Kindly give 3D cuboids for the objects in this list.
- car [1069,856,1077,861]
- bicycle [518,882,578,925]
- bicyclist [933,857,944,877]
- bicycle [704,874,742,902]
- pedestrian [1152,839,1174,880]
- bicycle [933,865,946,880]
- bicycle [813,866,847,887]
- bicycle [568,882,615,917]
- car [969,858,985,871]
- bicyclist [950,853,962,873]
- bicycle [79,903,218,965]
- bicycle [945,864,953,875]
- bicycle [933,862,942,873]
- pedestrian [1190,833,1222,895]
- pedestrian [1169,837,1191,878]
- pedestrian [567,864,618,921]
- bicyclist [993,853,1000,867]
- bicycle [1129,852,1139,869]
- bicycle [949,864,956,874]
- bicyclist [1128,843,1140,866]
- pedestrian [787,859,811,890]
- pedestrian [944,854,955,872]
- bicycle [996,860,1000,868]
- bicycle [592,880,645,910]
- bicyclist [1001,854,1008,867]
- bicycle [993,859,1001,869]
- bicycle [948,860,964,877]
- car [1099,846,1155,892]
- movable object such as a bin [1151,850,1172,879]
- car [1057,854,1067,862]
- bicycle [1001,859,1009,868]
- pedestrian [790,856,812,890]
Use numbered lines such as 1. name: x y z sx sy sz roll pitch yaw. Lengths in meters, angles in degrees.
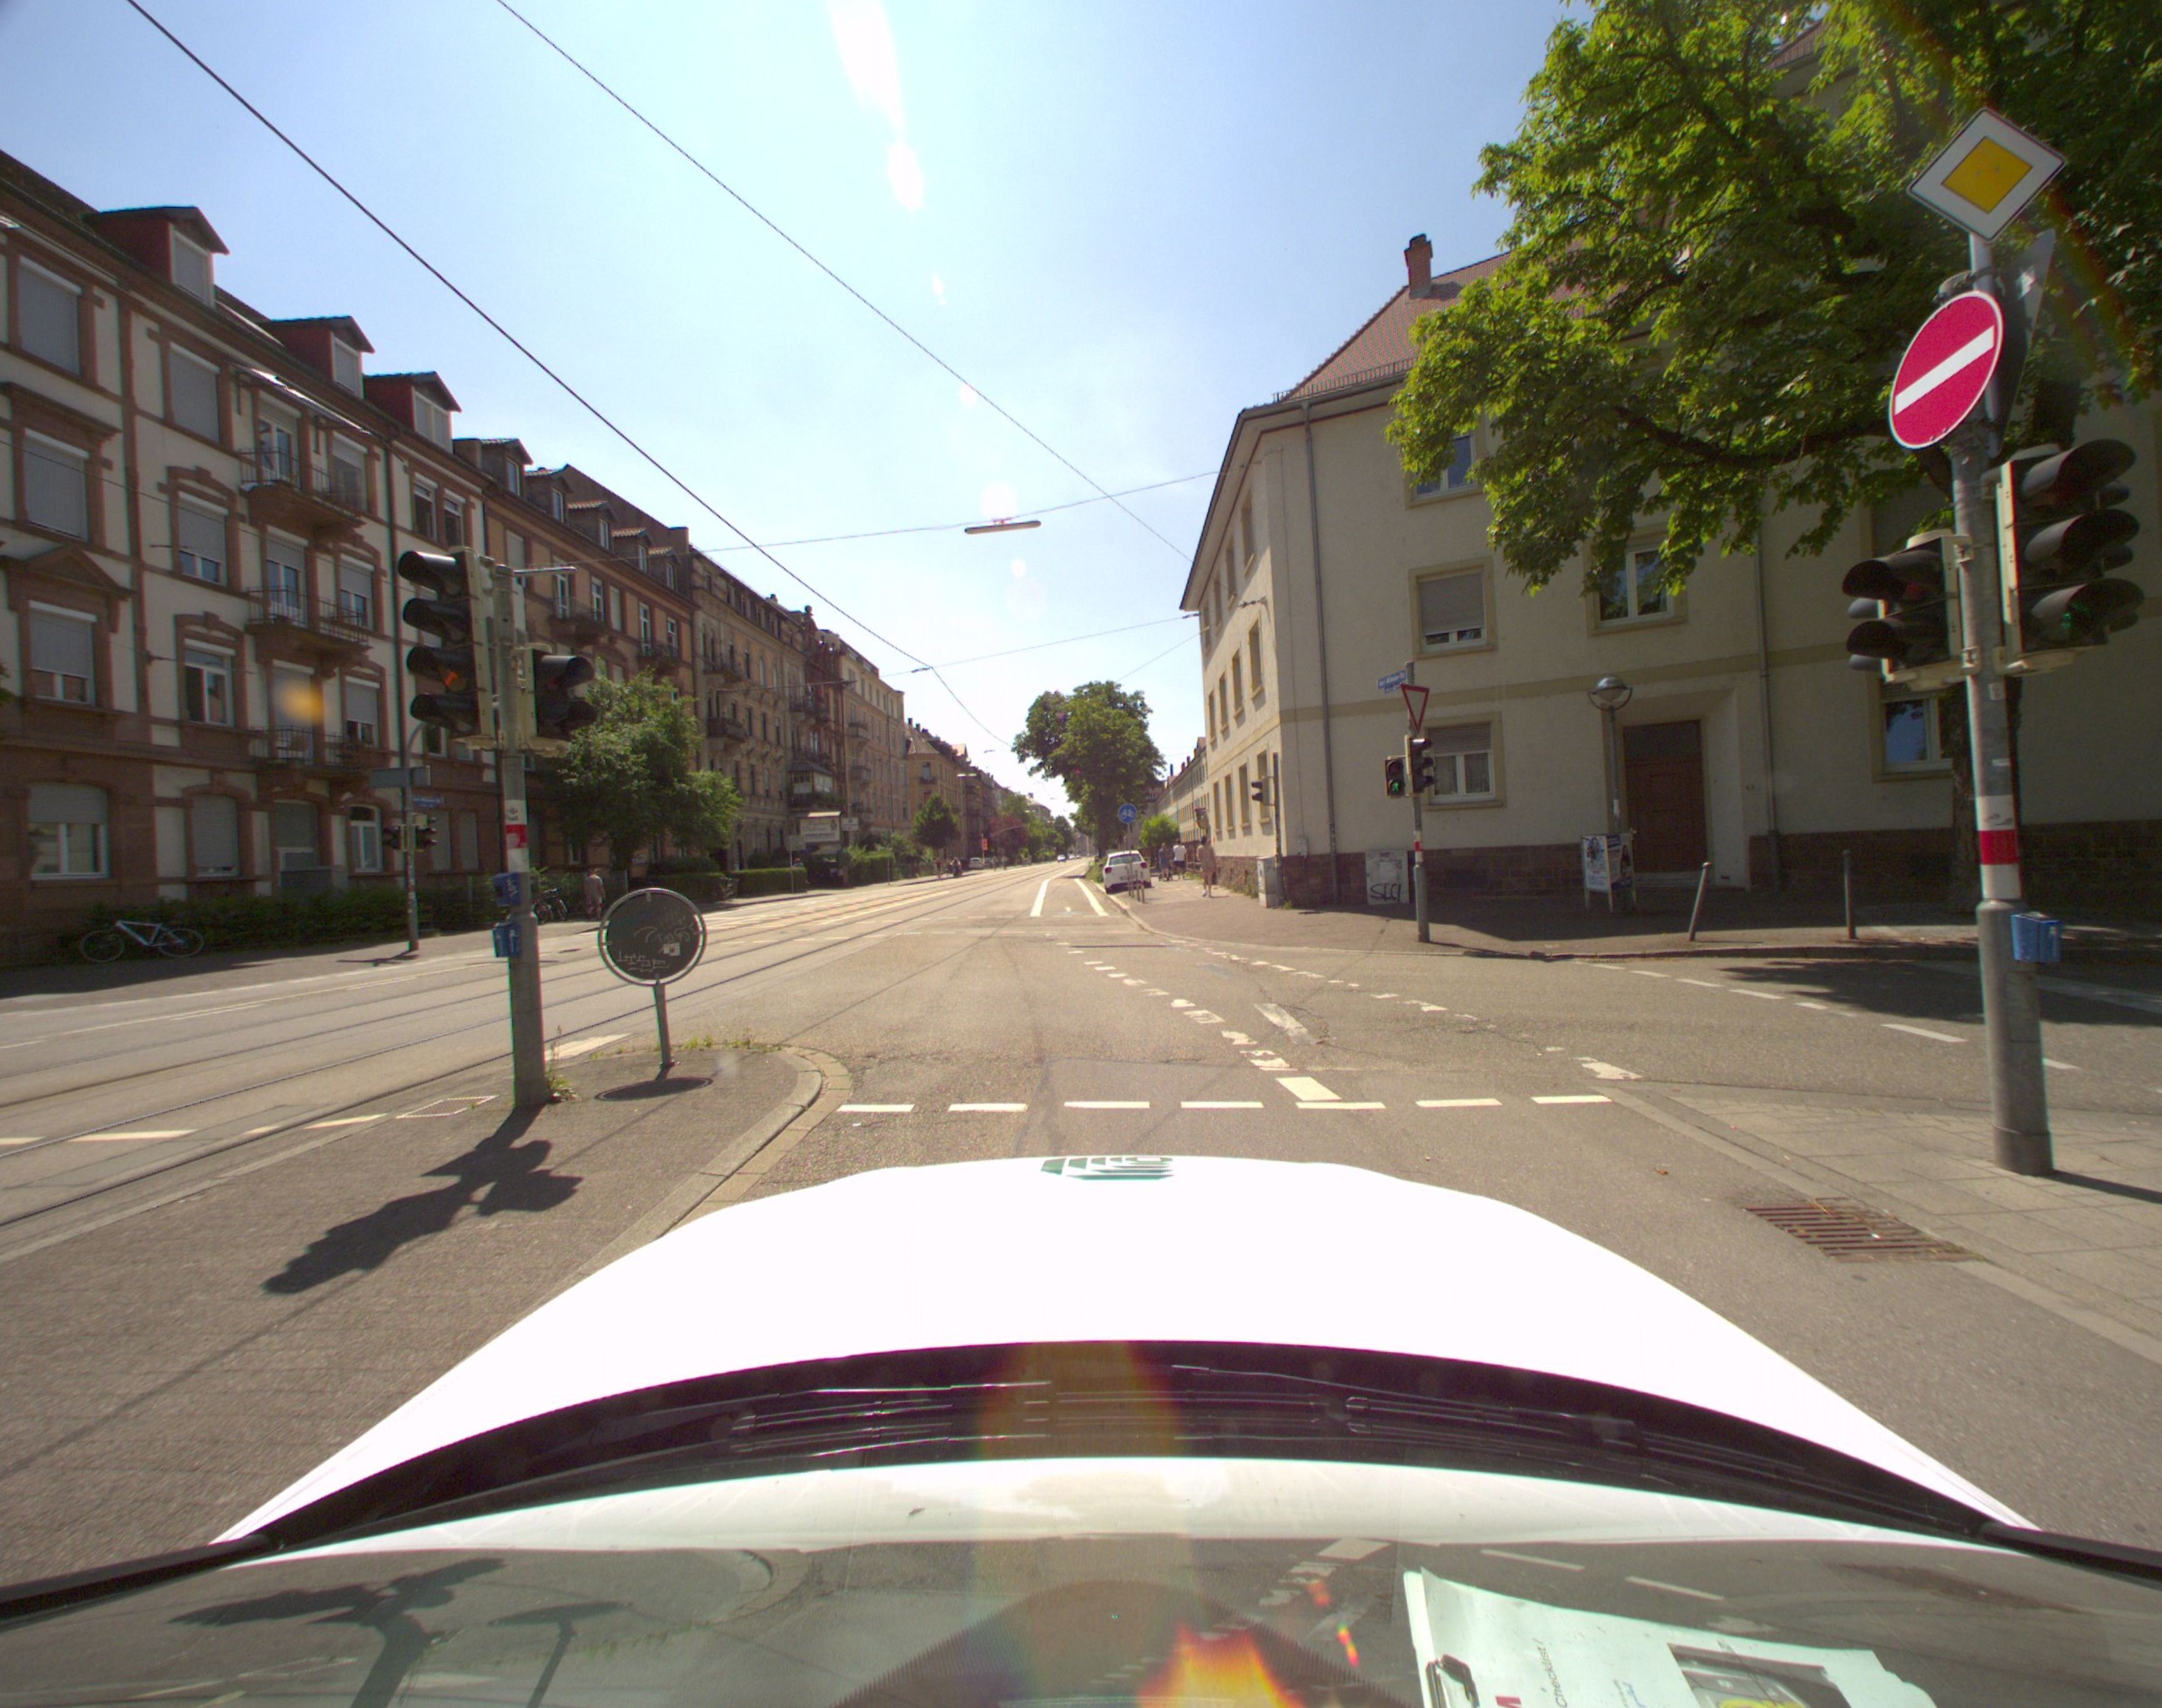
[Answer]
1. car: -2.259 1.198 231.314 1.749 1.424 4.002 -4 0 2
2. bicycle: -16.435 1.509 25.152 0.570 1.169 1.718 -3 0 5
3. bicyclist: -10.851 0.977 62.169 0.560 1.515 0.892 -3 0 2
4. bicycle: -15.306 1.454 34.894 0.635 1.093 1.934 -1 0 5
5. pedestrian: 3.471 0.233 34.579 0.695 1.669 0.869 -6 0 0
6. bicycle: -10.825 1.408 62.198 0.565 1.038 1.830 -3 0 2
7. bicycle: -15.311 1.361 49.761 1.865 1.227 0.568 -1 0 -2
8. bicycle: -16.388 1.520 27.307 0.457 1.056 1.566 -3 0 5
9. car: -14.000 1.412 109.671 1.861 1.600 4.097 -2 0 -3
10. bicyclist: -10.456 0.768 68.104 0.804 1.629 0.981 -3 0 2
11. bicycle: -20.074 1.701 17.581 0.461 1.107 1.936 -3 0 40
12. bicycle: -13.233 1.534 81.557 0.437 0.983 1.710 -3 0 0
13. bicycle: -13.481 1.253 76.416 0.495 0.987 1.710 1 0 0
14. pedestrian: 3.487 0.277 22.730 0.695 1.669 0.756 -3 0 0
15. pedestrian: 4.268 0.154 35.018 0.695 1.669 0.756 -6 0 0
16. pedestrian: -15.505 1.203 25.866 0.867 1.700 1.015 -3 0 8
17. bicyclist: -9.855 0.748 94.991 0.632 1.584 1.028 -4 0 1
18. bicycle: 3.539 0.432 53.960 0.599 1.051 1.824 -3 0 4
19. bicycle: -13.159 1.509 83.598 0.437 0.983 1.710 -3 0 0
20. bicyclist: 3.491 0.043 53.871 0.708 1.452 1.011 -3 0 4
21. pedestrian: -16.238 1.186 46.865 0.899 1.700 0.829 -3 0 28
22. pedestrian: -12.756 0.834 78.914 0.848 1.723 1.139 0 0 2
23. bicycle: -12.110 1.446 118.701 0.452 1.003 1.805 -3 0 -2
24. bicycle: -17.114 1.507 30.143 1.639 0.996 0.495 -3 0 3
25. bicyclist: -8.916 0.737 95.144 0.590 1.544 0.952 -4 0 1
26. bicycle: -9.823 1.132 95.093 0.627 1.078 1.876 -4 0 1
27. bicycle: -10.428 1.187 68.104 0.804 1.271 2.552 -3 0 2
28. car: 1.695 0.525 31.041 1.772 1.410 4.156 -7 0 0
29. movable object such as a bin: 3.508 0.467 35.538 0.695 1.186 1.036 -6 0 1
30. car: -4.006 0.833 172.696 1.679 1.449 4.001 -3 0 1
31. bicycle: -8.887 1.099 95.127 0.579 1.078 1.891 -4 0 1
32. pedestrian: -15.732 1.088 45.738 0.867 1.857 0.821 -3 0 43
